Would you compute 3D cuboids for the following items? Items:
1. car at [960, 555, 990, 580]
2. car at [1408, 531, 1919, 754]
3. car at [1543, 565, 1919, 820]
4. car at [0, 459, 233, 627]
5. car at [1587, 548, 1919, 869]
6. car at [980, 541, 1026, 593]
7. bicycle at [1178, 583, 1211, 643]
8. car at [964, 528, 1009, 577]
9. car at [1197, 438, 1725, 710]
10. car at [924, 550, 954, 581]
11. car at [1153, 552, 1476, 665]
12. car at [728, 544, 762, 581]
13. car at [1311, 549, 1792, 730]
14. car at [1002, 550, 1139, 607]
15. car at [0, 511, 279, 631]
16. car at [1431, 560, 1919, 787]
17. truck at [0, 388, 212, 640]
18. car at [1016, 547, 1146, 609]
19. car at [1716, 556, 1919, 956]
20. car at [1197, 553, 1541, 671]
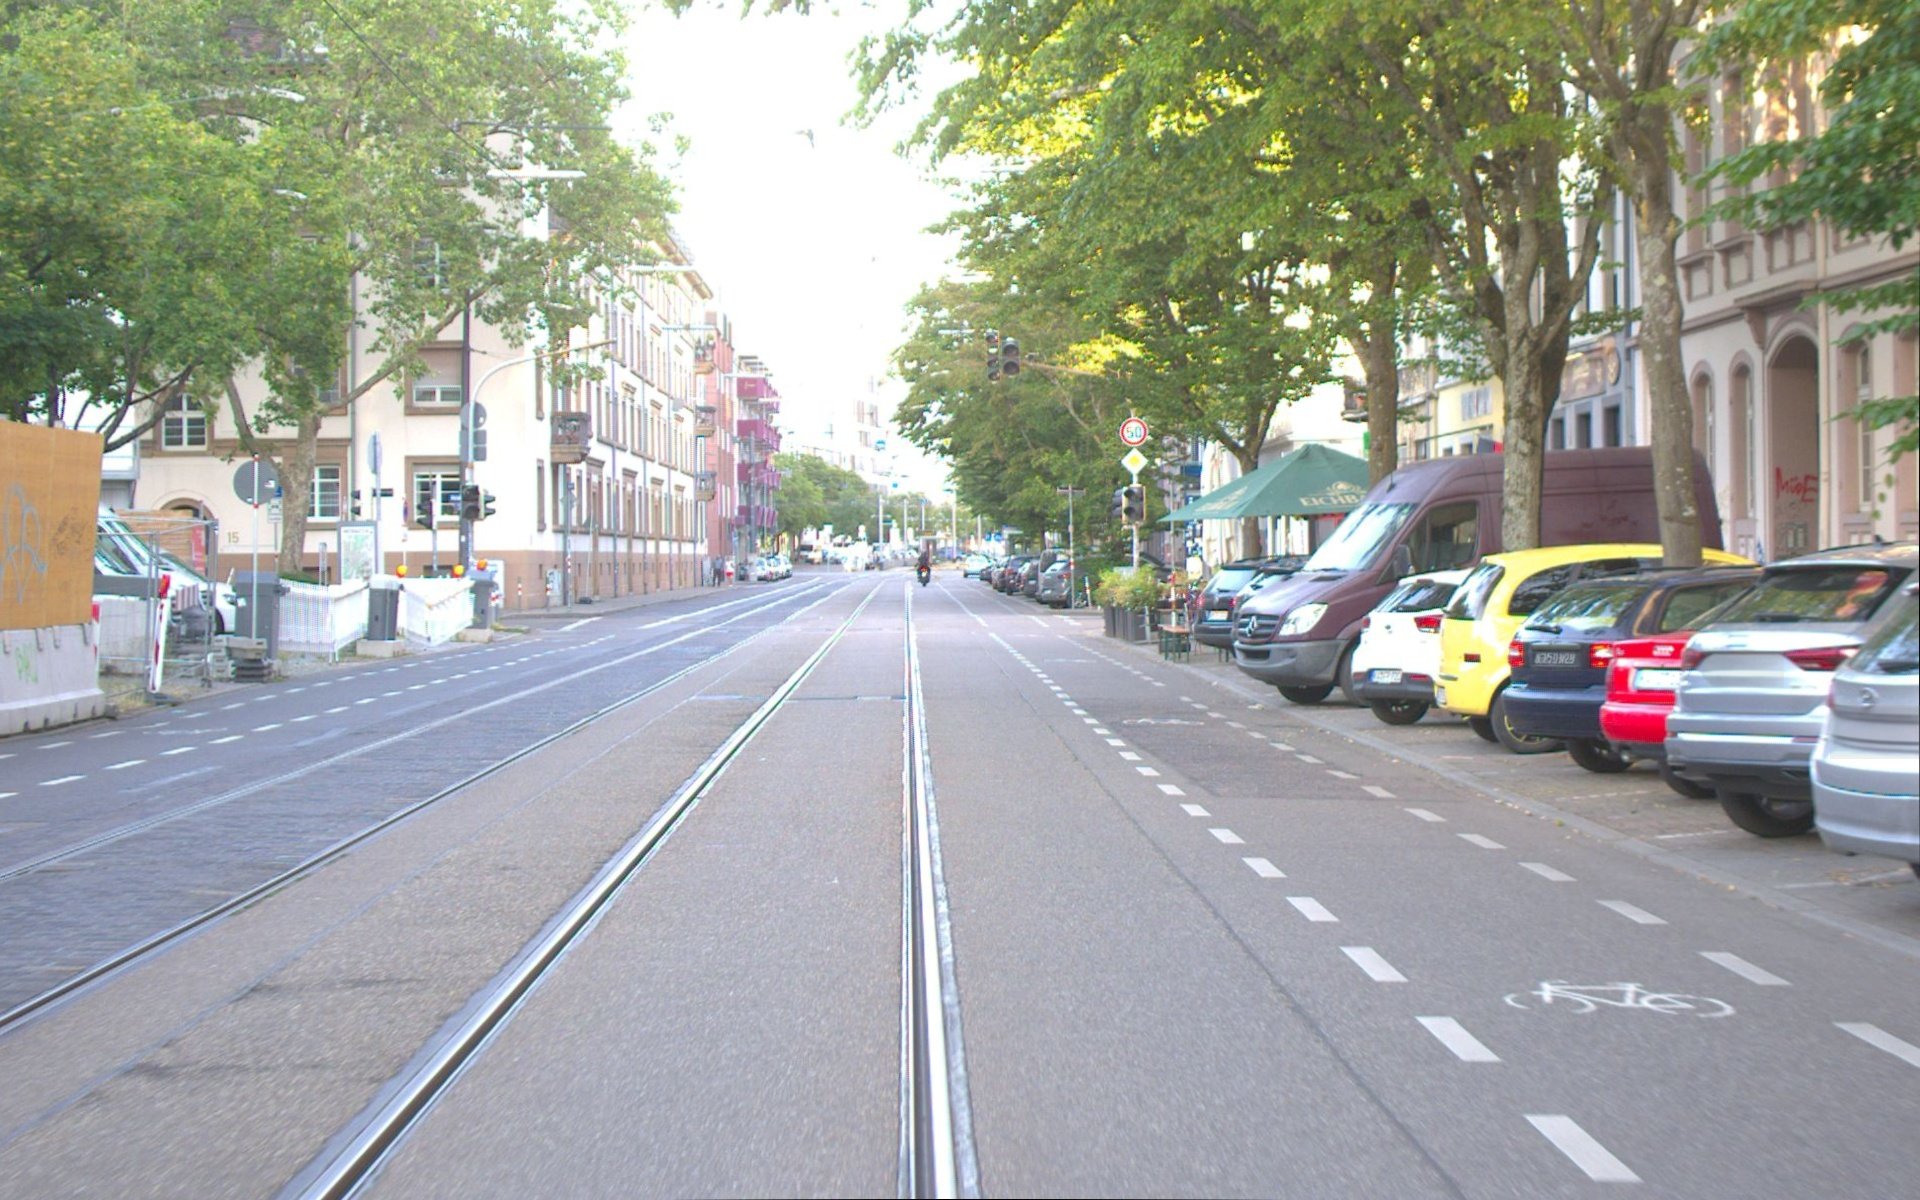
[{"bbox_3d":[1.049,-2.238,235.072,1.963,1.713,4.000,0,1,-1],"label":"car"},{"bbox_3d":[5.755,0.322,27.834,3.950,1.614,1.921,-2,0,0],"label":"car"},{"bbox_3d":[5.940,0.500,21.565,4.120,1.420,1.898,-2,0,-26],"label":"car"},{"bbox_3d":[-14.650,-0.953,55.389,5.398,2.549,2.227,2,1,-3],"label":"car"},{"bbox_3d":[5.750,0.479,18.614,4.250,1.555,1.898,-2,0,-23],"label":"car"},{"bbox_3d":[1.716,-1.330,137.845,1.721,2.007,4.000,0,1,-1],"label":"car"},{"bbox_3d":[4.115,0.222,60.377,0.418,1.012,1.830,0,1,-1],"label":"bicycle"},{"bbox_3d":[1.118,-1.997,145.171,1.804,2.007,4.000,0,1,-1],"label":"car"},{"bbox_3d":[5.317,-0.299,36.607,5.094,2.633,2.022,-2,0,-17],"label":"car"},{"bbox_3d":[-1.361,-2.237,223.737,1.898,2.007,4.000,0,1,-1],"label":"car"},{"bbox_3d":[5.114,0.114,49.636,4.174,1.493,2.009,-2,0,-25],"label":"car"},{"bbox_3d":[-13.043,-2.279,208.820,1.898,2.171,4.000,0,1,-1],"label":"car"},{"bbox_3d":[5.486,0.349,31.914,3.950,1.481,1.921,-2,0,-24],"label":"car"},{"bbox_3d":[3.155,-0.626,99.002,3.887,1.587,1.861,0,1,0],"label":"car"},{"bbox_3d":[-14.922,-0.542,61.255,5.027,1.938,2.227,2,1,4],"label":"car"},{"bbox_3d":[5.660,0.470,24.583,4.120,1.420,1.921,-2,0,-26],"label":"car"},{"bbox_3d":[-14.587,-1.310,49.534,7.056,3.469,2.542,2,1,-4],"label":"truck"},{"bbox_3d":[3.634,-0.664,103.716,3.887,1.842,1.861,0,0,0],"label":"car"},{"bbox_3d":[5.648,0.542,14.627,4.249,1.543,2.020,-2,1,-11],"label":"car"},{"bbox_3d":[5.553,0.147,46.819,4.174,1.457,2.009,-2,0,-16],"label":"car"}]
